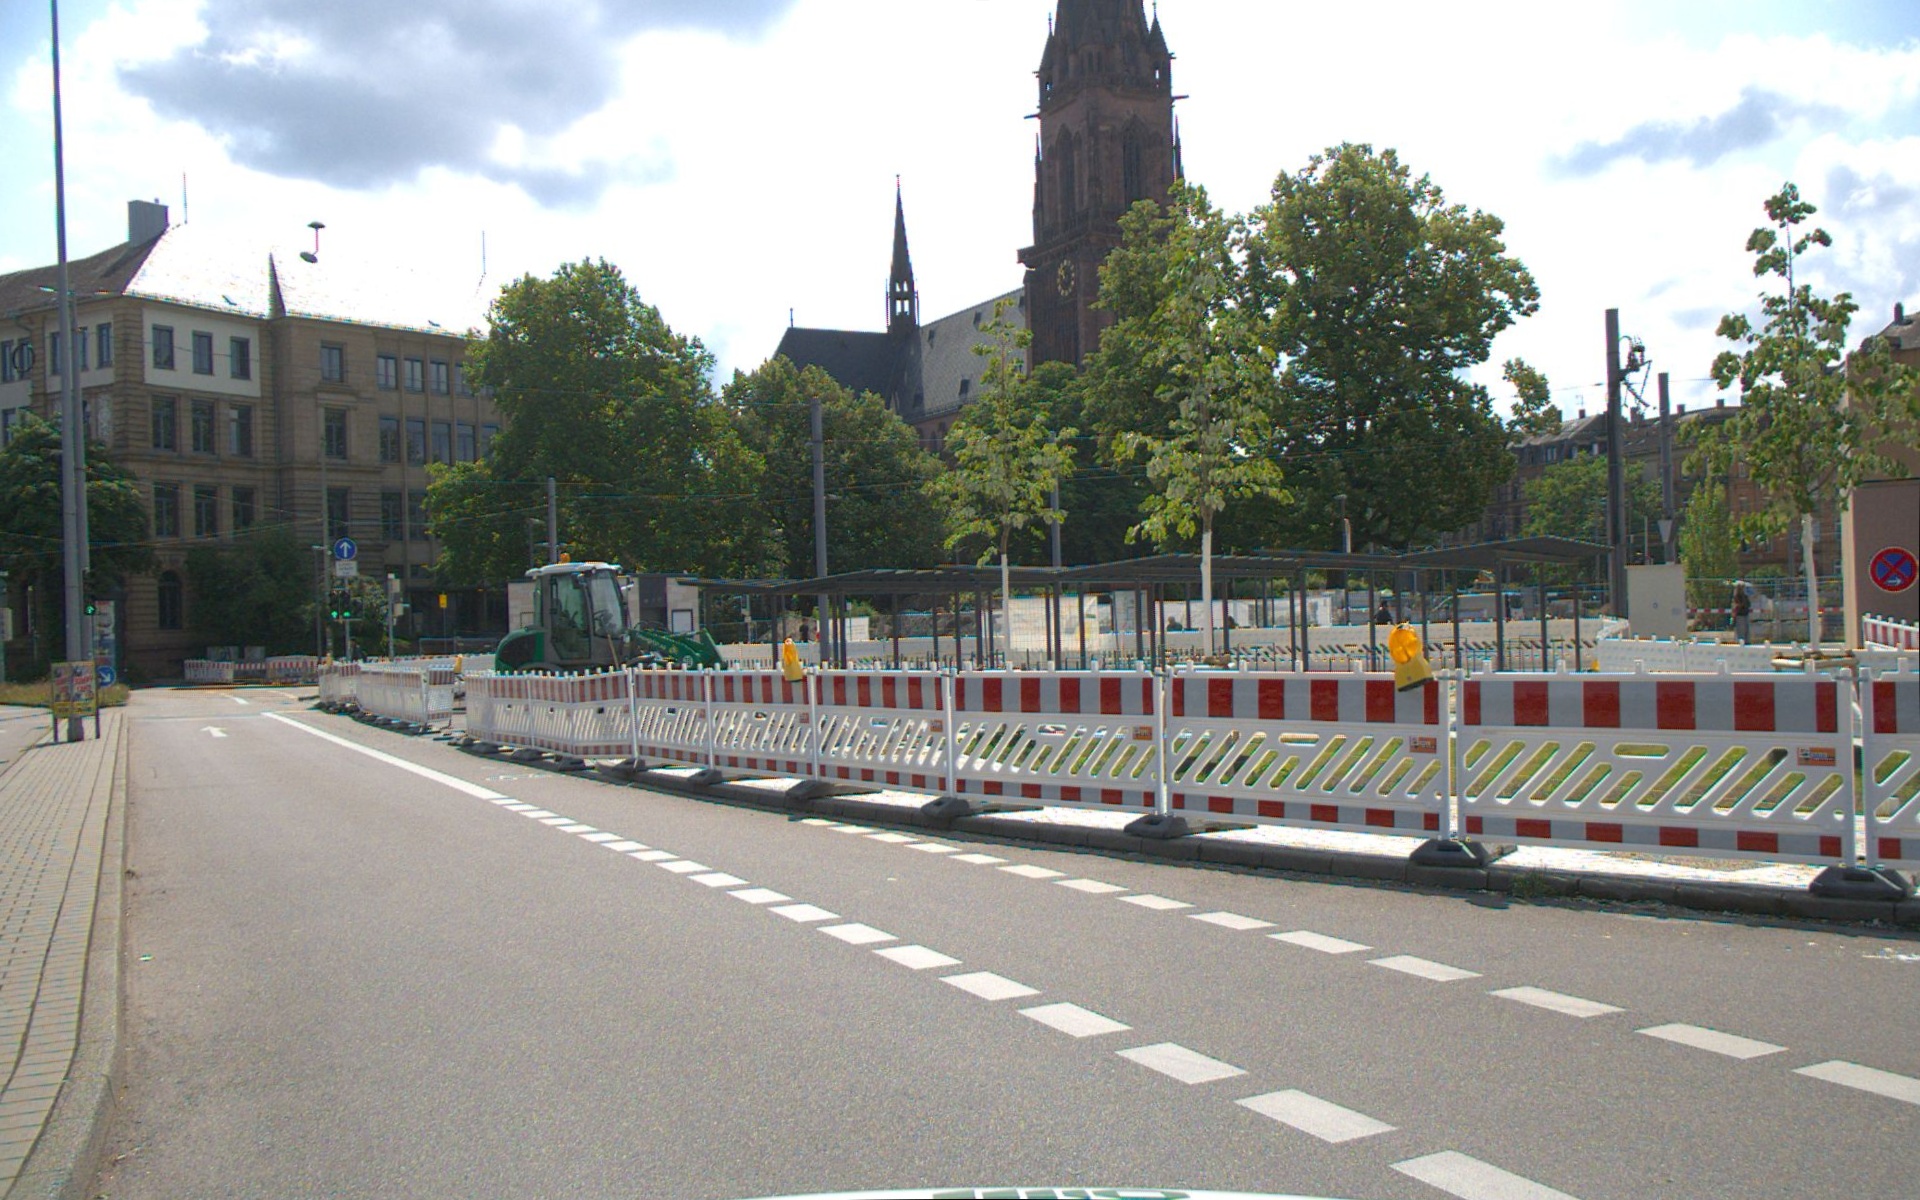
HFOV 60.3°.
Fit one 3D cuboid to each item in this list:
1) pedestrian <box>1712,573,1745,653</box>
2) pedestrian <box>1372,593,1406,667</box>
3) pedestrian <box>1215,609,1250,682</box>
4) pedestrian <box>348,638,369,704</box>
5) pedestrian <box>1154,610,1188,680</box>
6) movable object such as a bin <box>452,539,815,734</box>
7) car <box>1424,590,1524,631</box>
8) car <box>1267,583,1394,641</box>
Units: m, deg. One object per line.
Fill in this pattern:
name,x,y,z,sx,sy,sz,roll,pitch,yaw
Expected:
pedestrian,19.825,0.333,42.664,0.687,2.049,0.555,-2,-1,28
pedestrian,12.189,0.849,47.013,0.745,2.049,0.749,-2,-1,26
pedestrian,7.842,1.302,47.652,0.745,2.049,0.749,-2,-1,26
pedestrian,-17.490,2.046,48.082,0.490,1.882,0.526,-2,-1,-17
pedestrian,6.260,1.331,49.038,0.733,2.049,0.762,-2,-1,24
movable object such as a bin,-5.386,0.626,27.337,5.409,2.935,2.289,-2,-1,20
car,24.956,0.536,80.362,4.285,1.824,1.776,-2,-1,37
car,13.289,0.426,59.382,4.086,1.915,1.801,-2,-1,28
